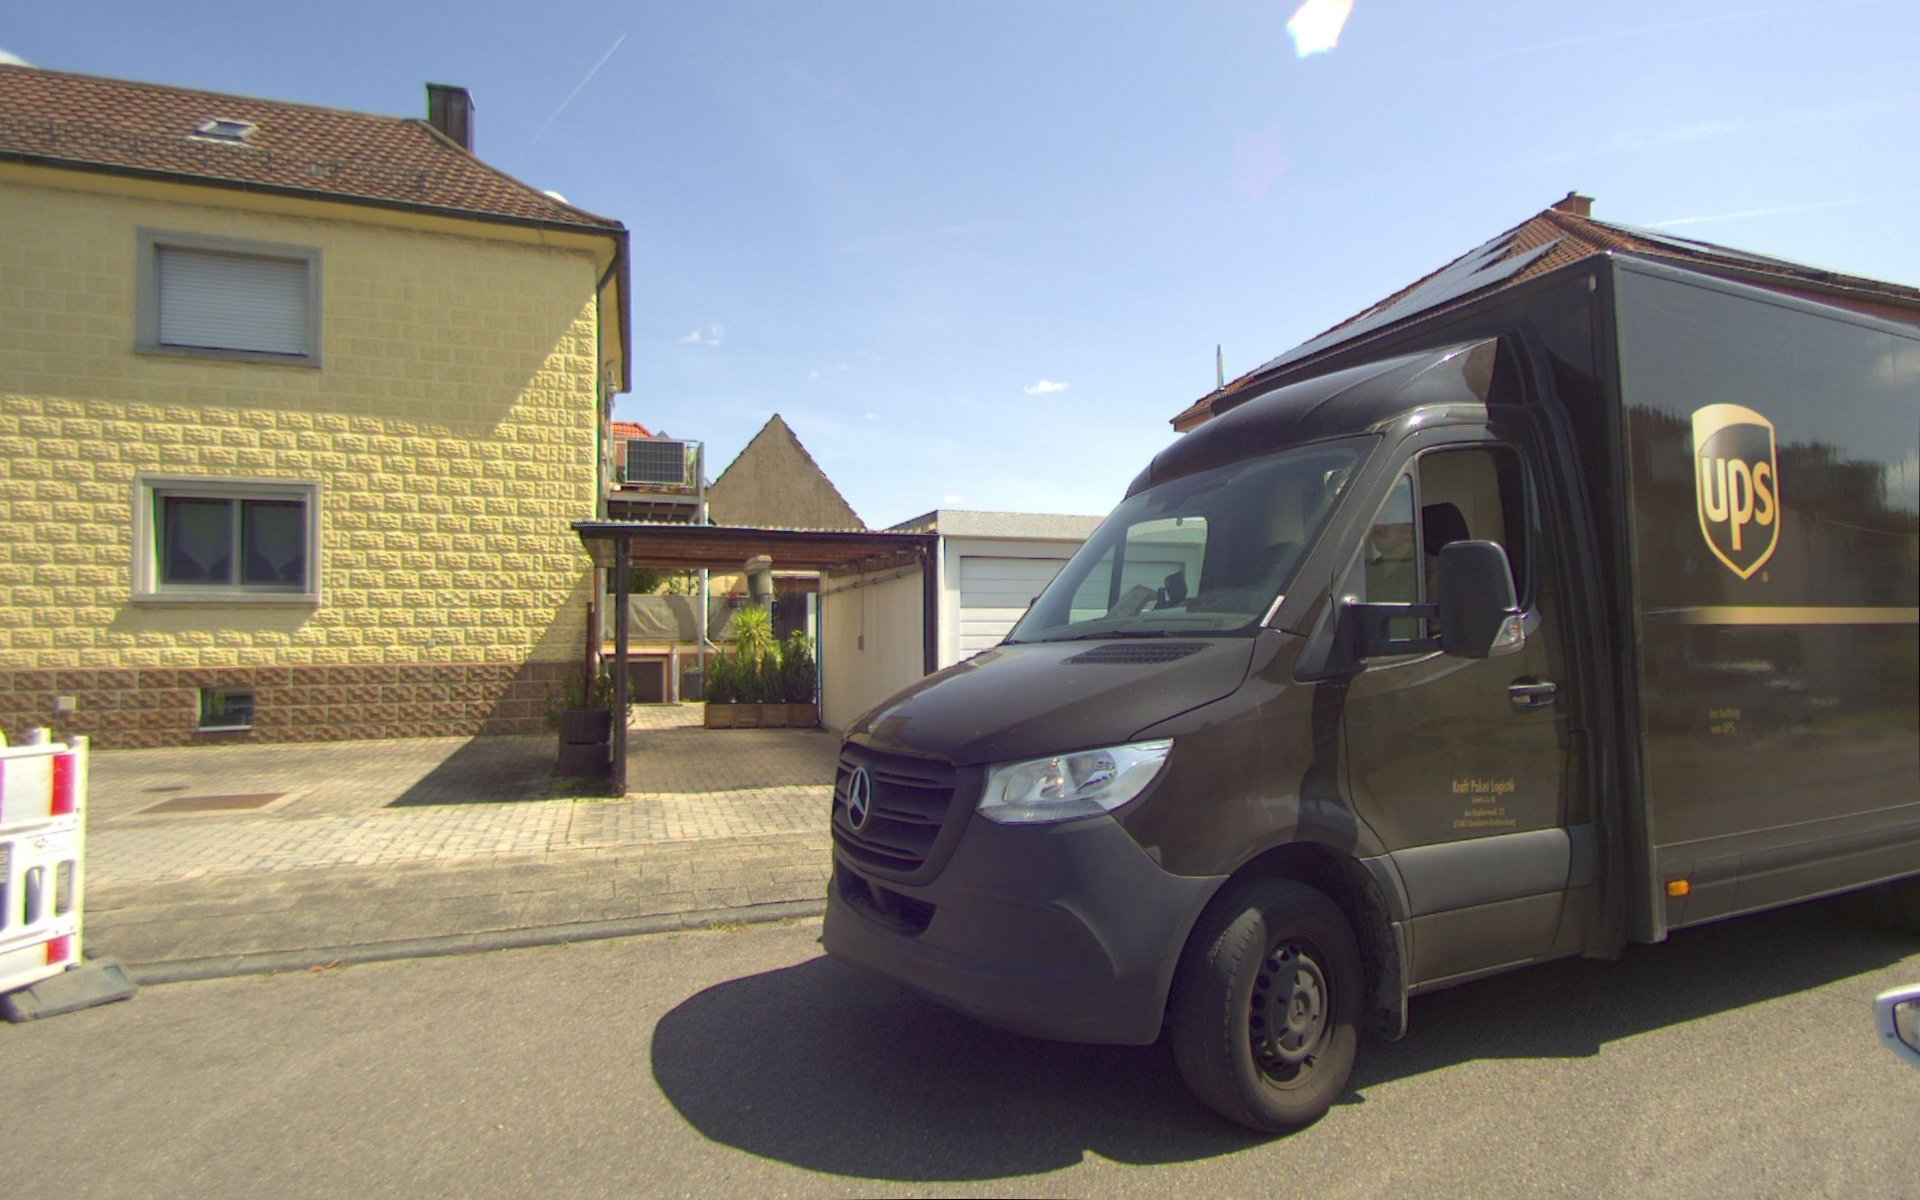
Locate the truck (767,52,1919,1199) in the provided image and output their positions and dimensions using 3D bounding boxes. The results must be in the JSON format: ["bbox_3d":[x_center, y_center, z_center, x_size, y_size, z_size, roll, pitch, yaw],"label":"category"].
[{"bbox_3d":[2.883,0.218,5.008,7.200,2.823,2.427,1,-4,-26],"label":"truck"}]
